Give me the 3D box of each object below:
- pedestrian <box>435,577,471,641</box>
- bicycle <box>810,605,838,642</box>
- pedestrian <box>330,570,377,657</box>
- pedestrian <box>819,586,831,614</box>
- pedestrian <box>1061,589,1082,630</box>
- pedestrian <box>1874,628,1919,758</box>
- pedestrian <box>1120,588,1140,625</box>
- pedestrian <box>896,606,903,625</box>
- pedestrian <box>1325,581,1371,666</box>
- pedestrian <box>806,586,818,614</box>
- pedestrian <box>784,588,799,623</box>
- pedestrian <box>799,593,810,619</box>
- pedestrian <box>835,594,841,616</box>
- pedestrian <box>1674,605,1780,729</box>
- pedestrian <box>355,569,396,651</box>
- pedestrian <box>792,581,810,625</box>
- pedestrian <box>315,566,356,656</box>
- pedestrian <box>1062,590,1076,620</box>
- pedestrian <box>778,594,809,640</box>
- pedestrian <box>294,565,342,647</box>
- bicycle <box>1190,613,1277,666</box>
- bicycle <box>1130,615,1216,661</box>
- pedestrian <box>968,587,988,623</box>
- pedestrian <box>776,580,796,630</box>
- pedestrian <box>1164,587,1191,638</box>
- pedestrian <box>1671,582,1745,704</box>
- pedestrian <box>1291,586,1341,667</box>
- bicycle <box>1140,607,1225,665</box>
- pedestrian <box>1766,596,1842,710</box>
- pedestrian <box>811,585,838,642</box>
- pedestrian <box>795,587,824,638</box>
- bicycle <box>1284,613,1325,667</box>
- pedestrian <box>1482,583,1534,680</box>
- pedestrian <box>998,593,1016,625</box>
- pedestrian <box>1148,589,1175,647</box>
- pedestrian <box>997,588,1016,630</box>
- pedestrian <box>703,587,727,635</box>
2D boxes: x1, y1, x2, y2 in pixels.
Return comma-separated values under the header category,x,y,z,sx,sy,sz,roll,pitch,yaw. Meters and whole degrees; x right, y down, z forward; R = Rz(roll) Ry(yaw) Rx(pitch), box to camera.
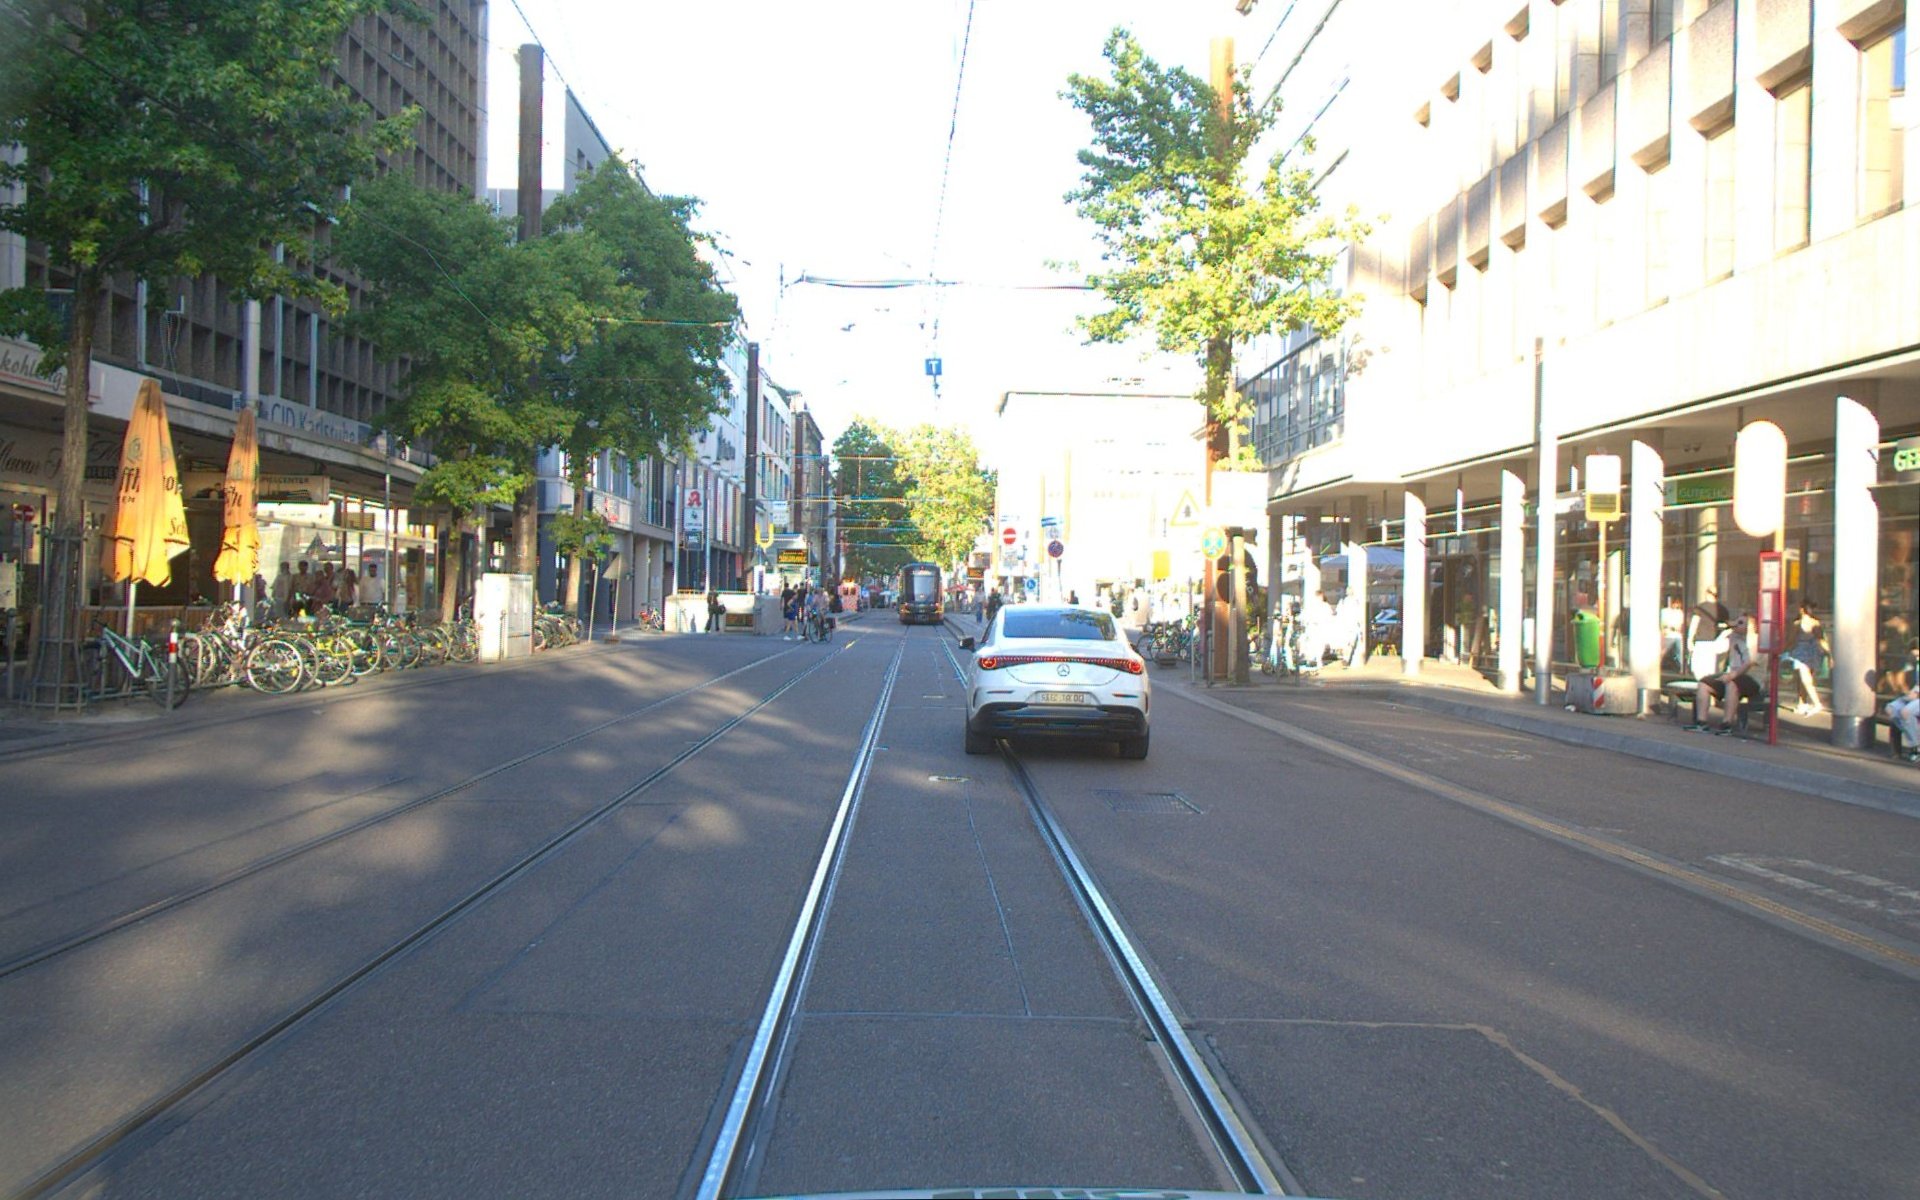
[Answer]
category,x,y,z,sx,sy,sz,roll,pitch,yaw
pedestrian,-14.512,0.259,47.372,0.800,1.792,0.779,1,0,-4
bicycle,-4.466,0.754,54.489,0.784,1.162,2.256,3,0,-3
pedestrian,-11.846,0.263,32.319,0.700,1.668,0.683,1,0,-8
pedestrian,-7.850,0.013,96.071,0.647,1.627,0.573,1,0,-3
pedestrian,4.636,0.378,68.770,0.820,1.691,0.785,1,0,1
pedestrian,9.422,0.898,16.068,0.652,1.219,0.785,1,0,3
pedestrian,7.810,0.297,75.894,0.801,1.714,0.803,-1,0,-2
pedestrian,-5.186,1.312,141.104,0.592,1.658,0.531,1,0,-1
pedestrian,8.651,0.523,36.875,0.687,1.844,1.033,-2,0,-2
pedestrian,-8.570,-0.003,95.972,0.647,1.627,0.573,1,0,-3
pedestrian,-7.596,0.252,74.658,0.603,1.572,0.650,1,0,-4
pedestrian,-9.869,0.404,104.787,0.647,1.627,0.573,1,0,-3
pedestrian,-9.279,0.344,125.488,0.405,1.658,0.606,1,0,-1
pedestrian,8.999,0.777,19.417,0.822,1.401,0.772,1,0,-24
pedestrian,-12.944,0.215,36.634,0.776,1.797,0.533,1,0,-26
pedestrian,-6.553,0.122,68.267,0.538,1.791,0.520,1,0,27
pedestrian,-12.684,0.228,33.599,0.705,1.797,0.679,1,0,-26
pedestrian,6.548,0.296,99.189,0.712,1.817,0.707,1,0,-2
pedestrian,-5.595,0.570,55.601,0.936,1.522,0.944,1,0,-1
pedestrian,-12.551,0.119,32.360,0.700,1.574,0.683,1,0,-8
bicycle,6.293,0.900,38.007,1.875,1.177,0.608,-1,0,-13
bicycle,5.402,0.955,41.917,2.077,1.115,0.608,1,-1,-13
pedestrian,0.914,0.238,83.350,0.941,1.817,0.803,-1,0,-2
pedestrian,-6.836,0.194,64.968,0.531,1.963,0.569,1,0,42
pedestrian,7.837,0.435,59.658,0.824,1.817,0.803,-1,0,-2
pedestrian,11.093,0.627,24.550,0.701,1.771,0.835,1,0,-1
pedestrian,7.988,0.590,37.105,0.881,1.775,0.689,-3,0,-2
bicycle,5.240,0.832,38.928,1.875,1.304,0.608,-1,0,-13
pedestrian,11.818,0.728,23.183,0.629,1.568,0.796,1,0,-1
pedestrian,-4.452,0.438,54.446,0.784,1.813,0.848,3,0,-3
pedestrian,-5.125,0.423,56.380,0.886,1.728,0.848,1,0,-1
bicycle,7.708,0.876,37.055,0.553,1.147,1.930,-1,0,2
pedestrian,9.629,0.548,29.064,0.624,1.682,0.780,1,0,0
pedestrian,2.716,0.510,95.870,0.941,1.817,0.803,-1,0,-2
pedestrian,6.423,0.571,52.685,0.733,1.817,0.766,-1,0,-2
pedestrian,1.956,0.373,69.928,0.731,1.728,0.840,1,0,-4
pedestrian,-9.019,0.407,60.897,0.822,1.747,0.783,1,0,-10
